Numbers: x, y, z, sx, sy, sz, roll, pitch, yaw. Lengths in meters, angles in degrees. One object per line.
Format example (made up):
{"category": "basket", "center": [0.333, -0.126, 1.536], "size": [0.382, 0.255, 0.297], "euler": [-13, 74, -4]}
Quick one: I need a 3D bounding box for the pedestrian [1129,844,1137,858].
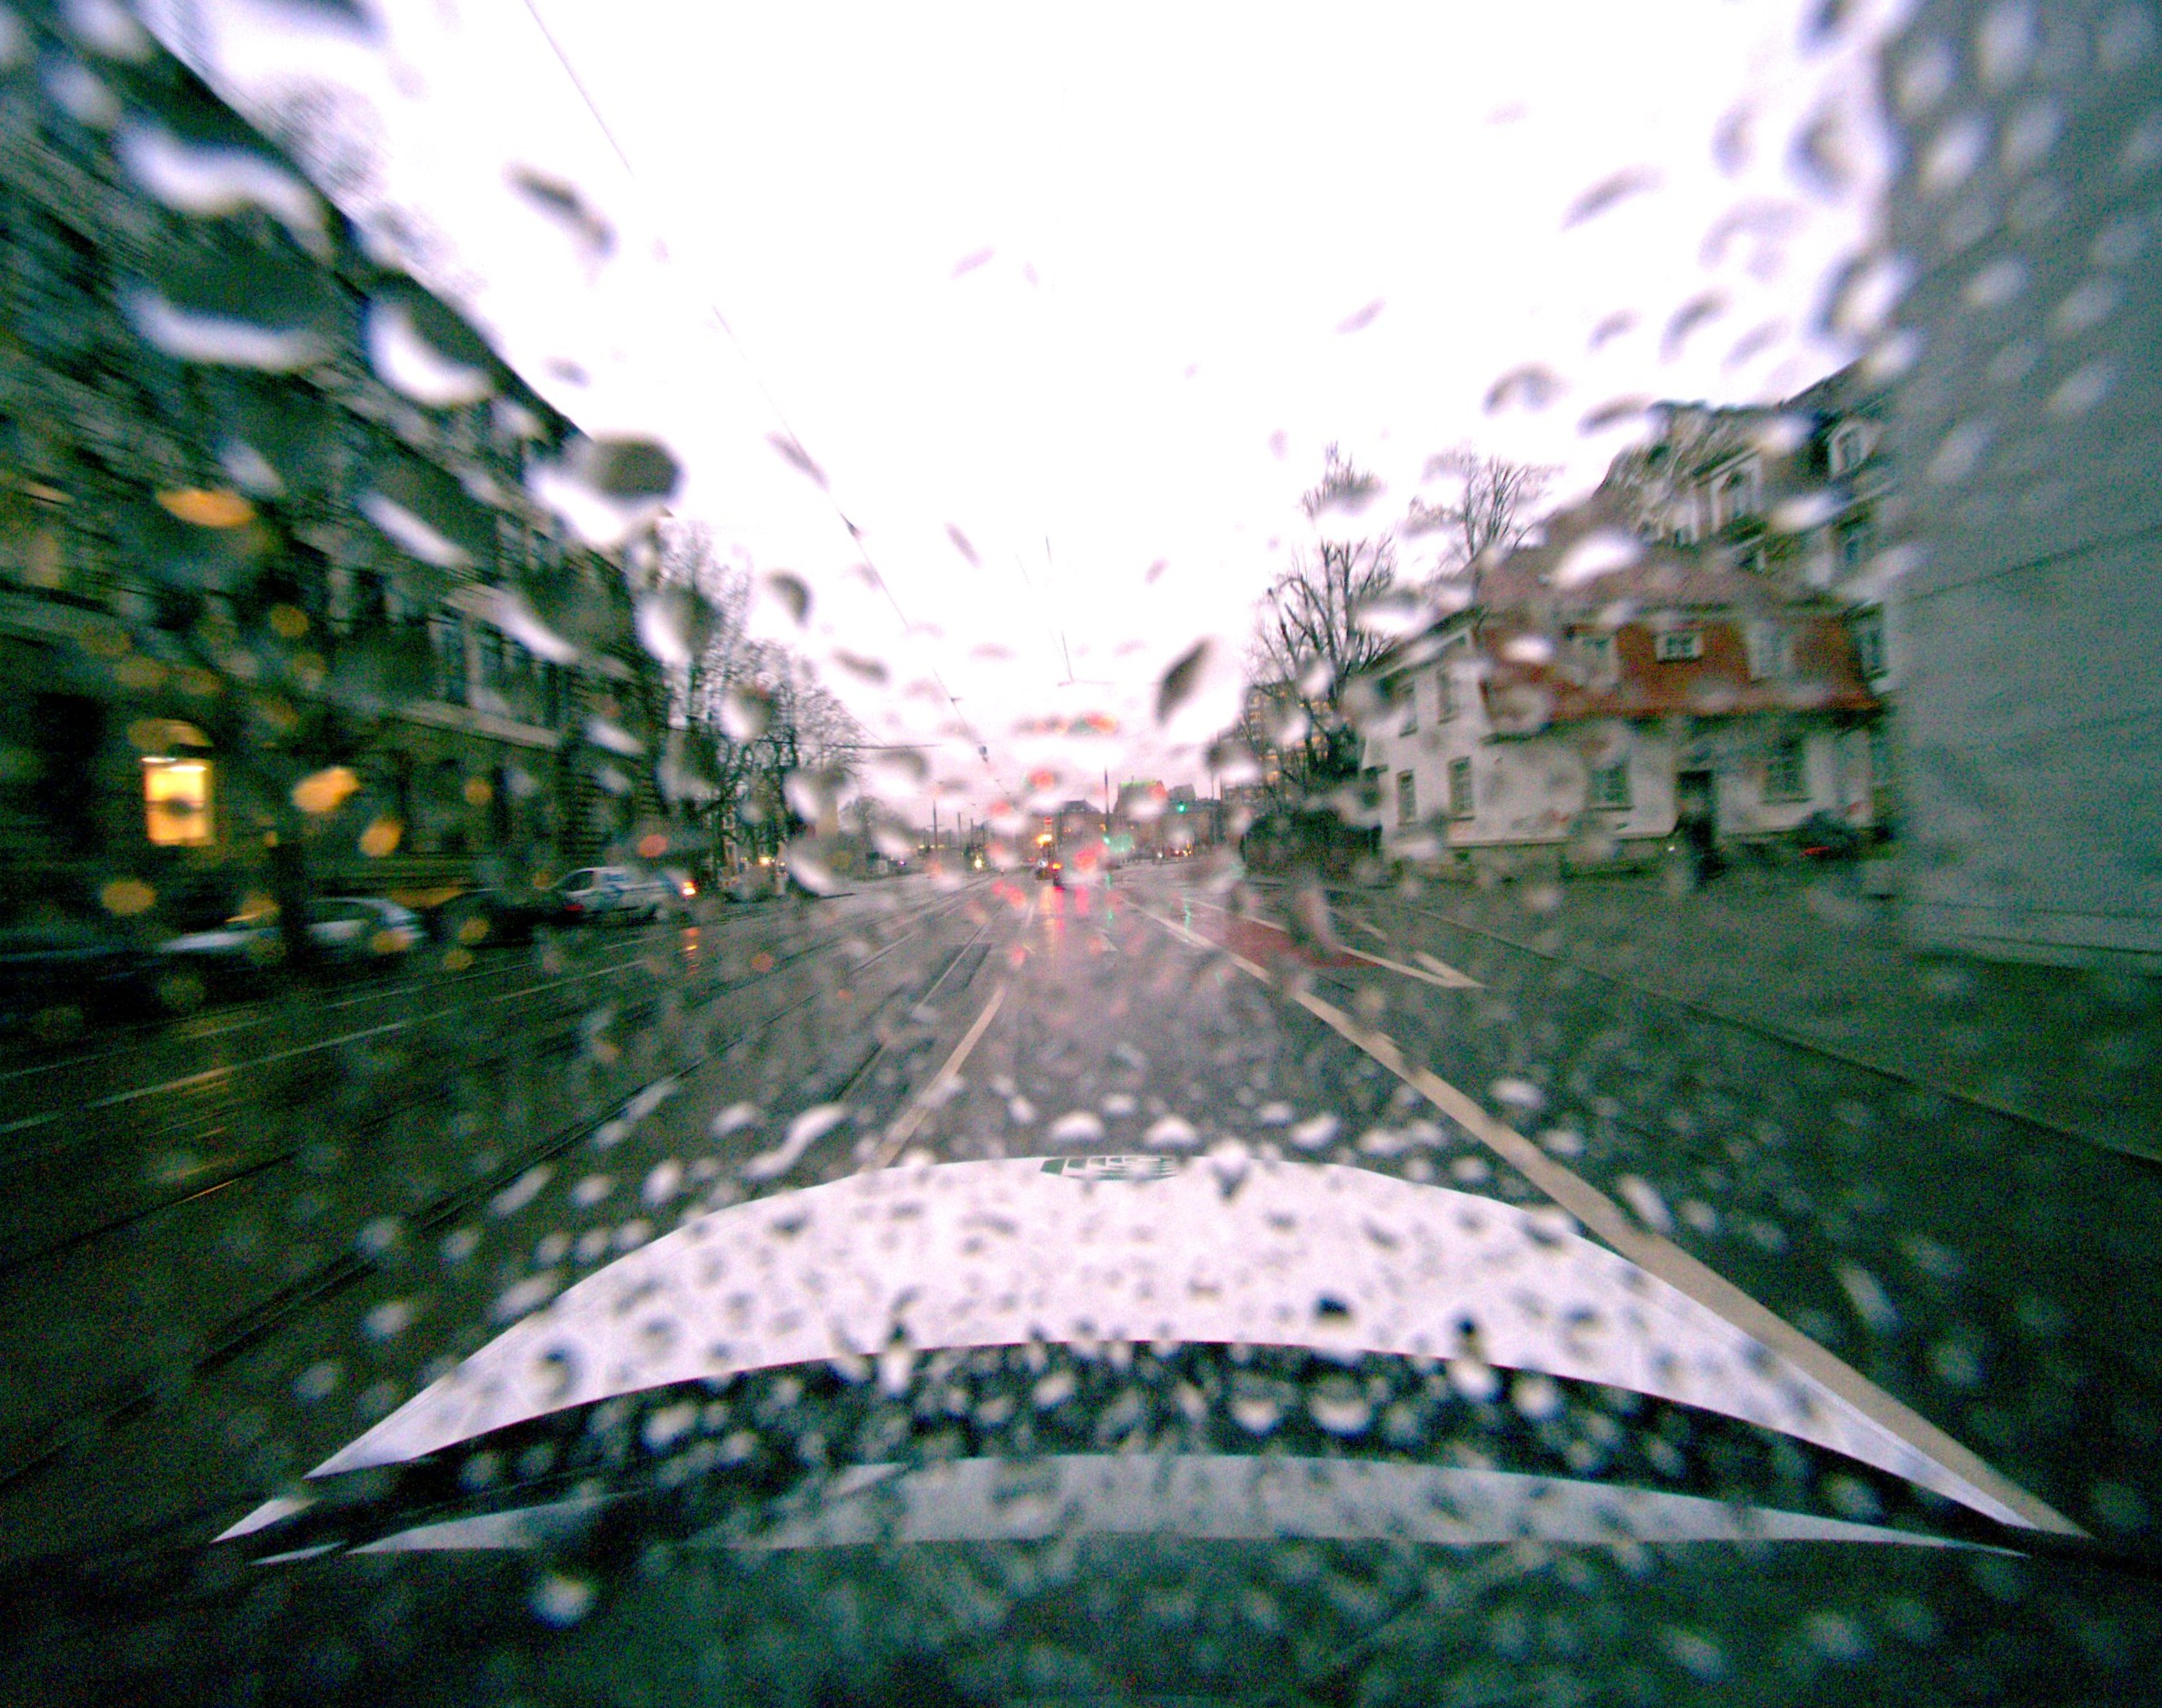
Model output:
{"category": "pedestrian", "center": [6.119, -0.340, 96.507], "size": [0.666, 1.674, 0.735], "euler": [-1, -1, 35]}

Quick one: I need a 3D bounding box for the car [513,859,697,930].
{"category": "car", "center": [-15.104, 1.195, 26.011], "size": [4.829, 2.034, 1.890], "euler": [0, -1, -40]}

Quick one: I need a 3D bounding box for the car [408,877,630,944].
{"category": "car", "center": [-14.080, 1.361, 20.767], "size": [4.490, 1.458, 1.783], "euler": [0, -1, -30]}

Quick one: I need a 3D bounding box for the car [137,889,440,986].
{"category": "car", "center": [-14.452, 1.447, 15.200], "size": [3.844, 1.458, 1.619], "euler": [0, -1, -37]}

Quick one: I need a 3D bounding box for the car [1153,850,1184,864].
{"category": "car", "center": [14.792, 0.483, 137.842], "size": [2.270, 2.281, 4.977], "euler": [0, -1, -42]}

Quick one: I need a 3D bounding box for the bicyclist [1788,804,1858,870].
{"category": "bicyclist", "center": [16.174, -0.361, 17.768], "size": [0.855, 1.410, 0.738], "euler": [0, -1, 3]}

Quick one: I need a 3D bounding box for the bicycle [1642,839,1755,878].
{"category": "bicycle", "center": [15.455, 0.123, 20.416], "size": [2.108, 0.944, 0.944], "euler": [0, -1, 1]}

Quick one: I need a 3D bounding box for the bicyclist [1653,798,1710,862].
{"category": "bicyclist", "center": [15.112, -0.592, 20.498], "size": [0.851, 1.595, 0.781], "euler": [0, -1, 2]}

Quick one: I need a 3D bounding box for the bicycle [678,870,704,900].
{"category": "bicycle", "center": [-22.530, 1.769, 46.972], "size": [0.717, 1.689, 2.400], "euler": [0, -1, -42]}

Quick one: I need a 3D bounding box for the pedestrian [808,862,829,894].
{"category": "pedestrian", "center": [-20.079, 1.836, 62.309], "size": [0.984, 2.370, 1.071], "euler": [-1, -1, 27]}

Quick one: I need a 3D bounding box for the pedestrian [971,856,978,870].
{"category": "pedestrian", "center": [-13.143, 1.074, 100.431], "size": [0.710, 1.757, 0.717], "euler": [-1, -1, -2]}

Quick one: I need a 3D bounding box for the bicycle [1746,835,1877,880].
{"category": "bicycle", "center": [15.960, 0.075, 17.836], "size": [2.004, 0.946, 0.905], "euler": [0, -1, 3]}

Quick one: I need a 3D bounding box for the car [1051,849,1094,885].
{"category": "car", "center": [-0.433, 0.709, 45.942], "size": [1.637, 1.818, 4.012], "euler": [-1, 1, 10]}

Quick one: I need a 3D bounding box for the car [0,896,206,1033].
{"category": "car", "center": [-14.151, 1.390, 10.181], "size": [3.989, 1.539, 1.806], "euler": [0, -1, -31]}
